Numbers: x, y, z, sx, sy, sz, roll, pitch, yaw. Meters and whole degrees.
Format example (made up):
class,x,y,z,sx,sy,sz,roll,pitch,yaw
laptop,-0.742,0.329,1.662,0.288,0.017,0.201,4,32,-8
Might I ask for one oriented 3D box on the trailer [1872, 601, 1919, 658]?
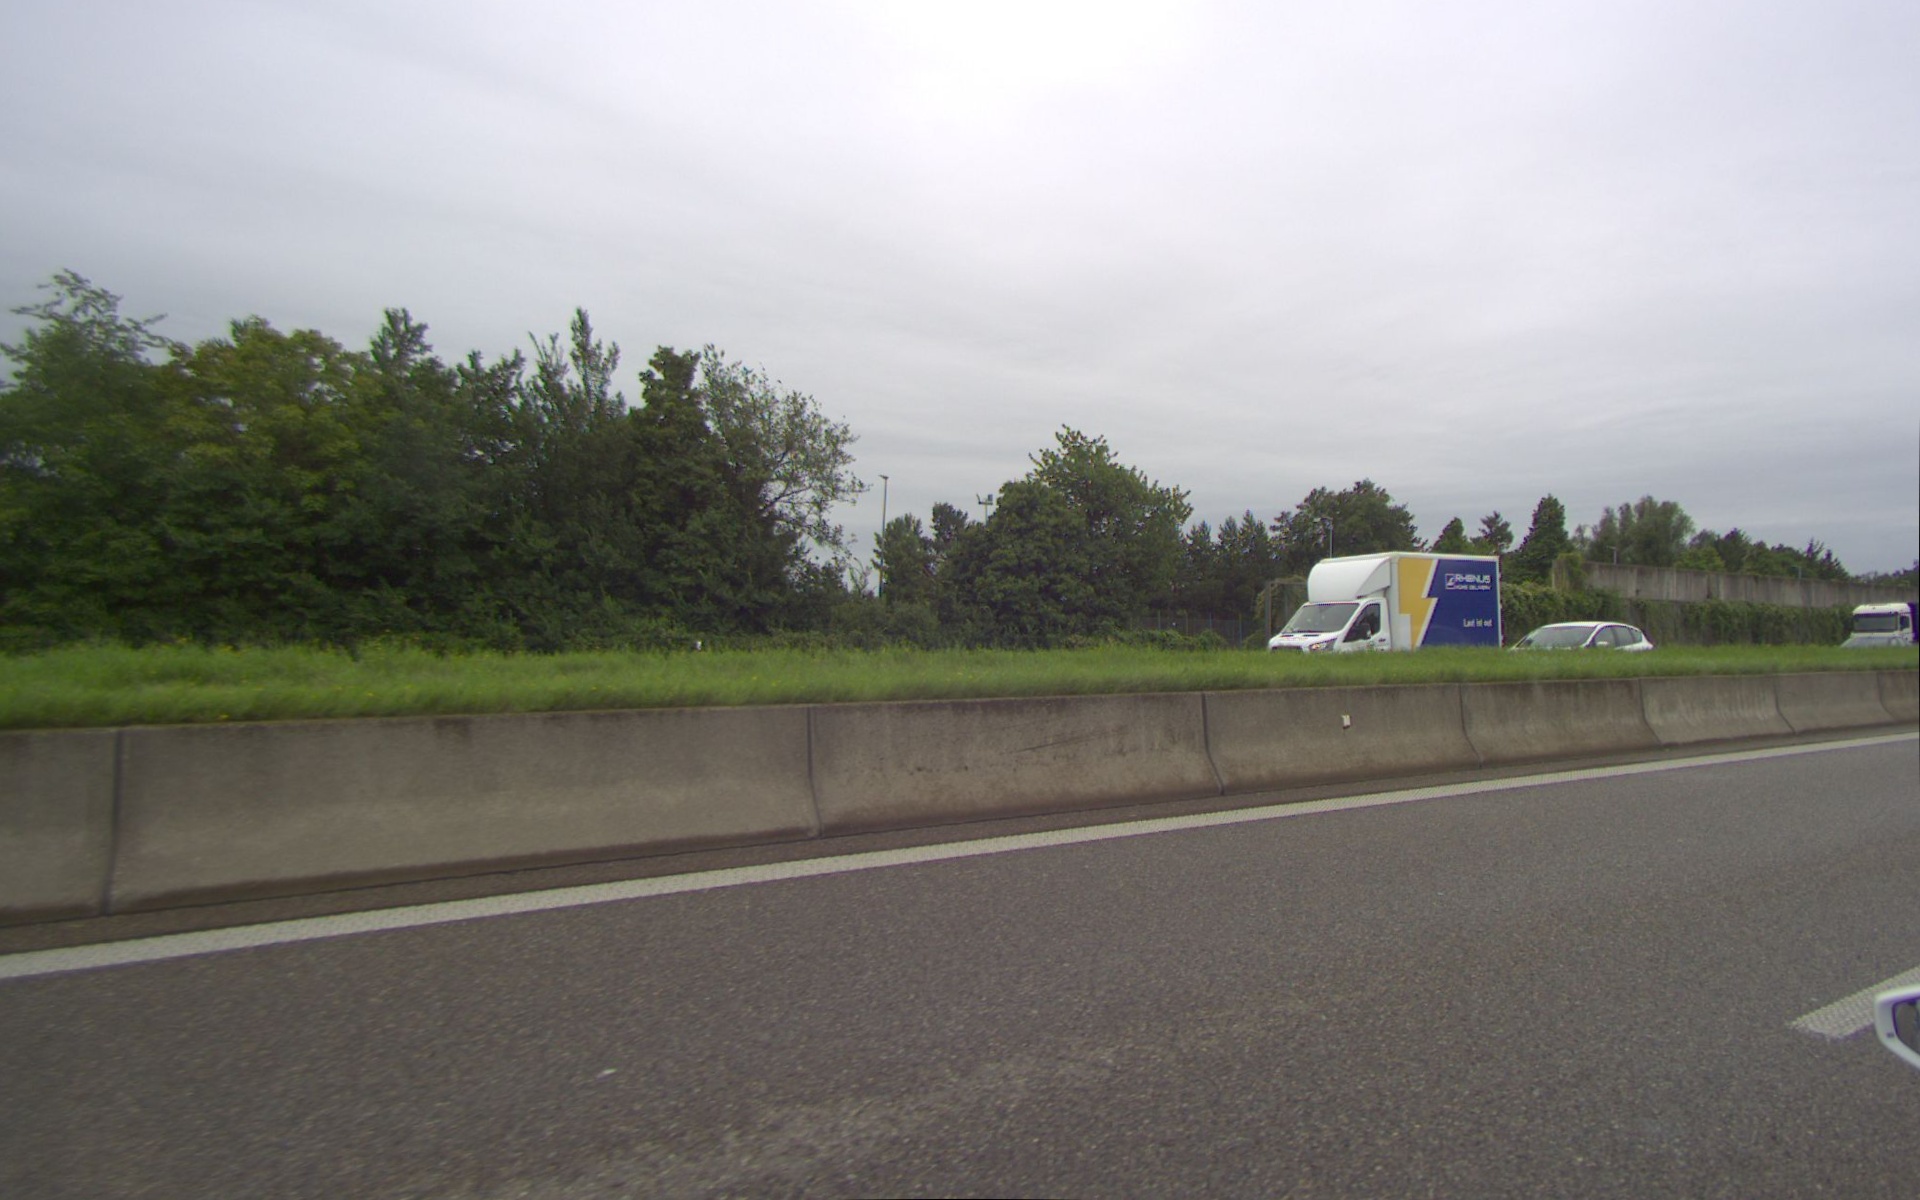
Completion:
class,x,y,z,sx,sy,sz,roll,pitch,yaw
trailer,60.234,1.874,62.241,10.436,3.333,2.296,2,0,-30

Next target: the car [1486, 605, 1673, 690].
class,x,y,z,sx,sy,sz,roll,pitch,yaw
car,13.731,1.027,22.231,4.101,1.684,1.812,2,0,-31

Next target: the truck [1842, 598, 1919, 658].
class,x,y,z,sx,sy,sz,roll,pitch,yaw
truck,54.818,1.673,59.171,6.504,3.316,2.305,2,0,-30

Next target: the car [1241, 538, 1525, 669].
class,x,y,z,sx,sy,sz,roll,pitch,yaw
car,10.219,0.160,23.994,7.228,2.771,2.311,2,0,-30
